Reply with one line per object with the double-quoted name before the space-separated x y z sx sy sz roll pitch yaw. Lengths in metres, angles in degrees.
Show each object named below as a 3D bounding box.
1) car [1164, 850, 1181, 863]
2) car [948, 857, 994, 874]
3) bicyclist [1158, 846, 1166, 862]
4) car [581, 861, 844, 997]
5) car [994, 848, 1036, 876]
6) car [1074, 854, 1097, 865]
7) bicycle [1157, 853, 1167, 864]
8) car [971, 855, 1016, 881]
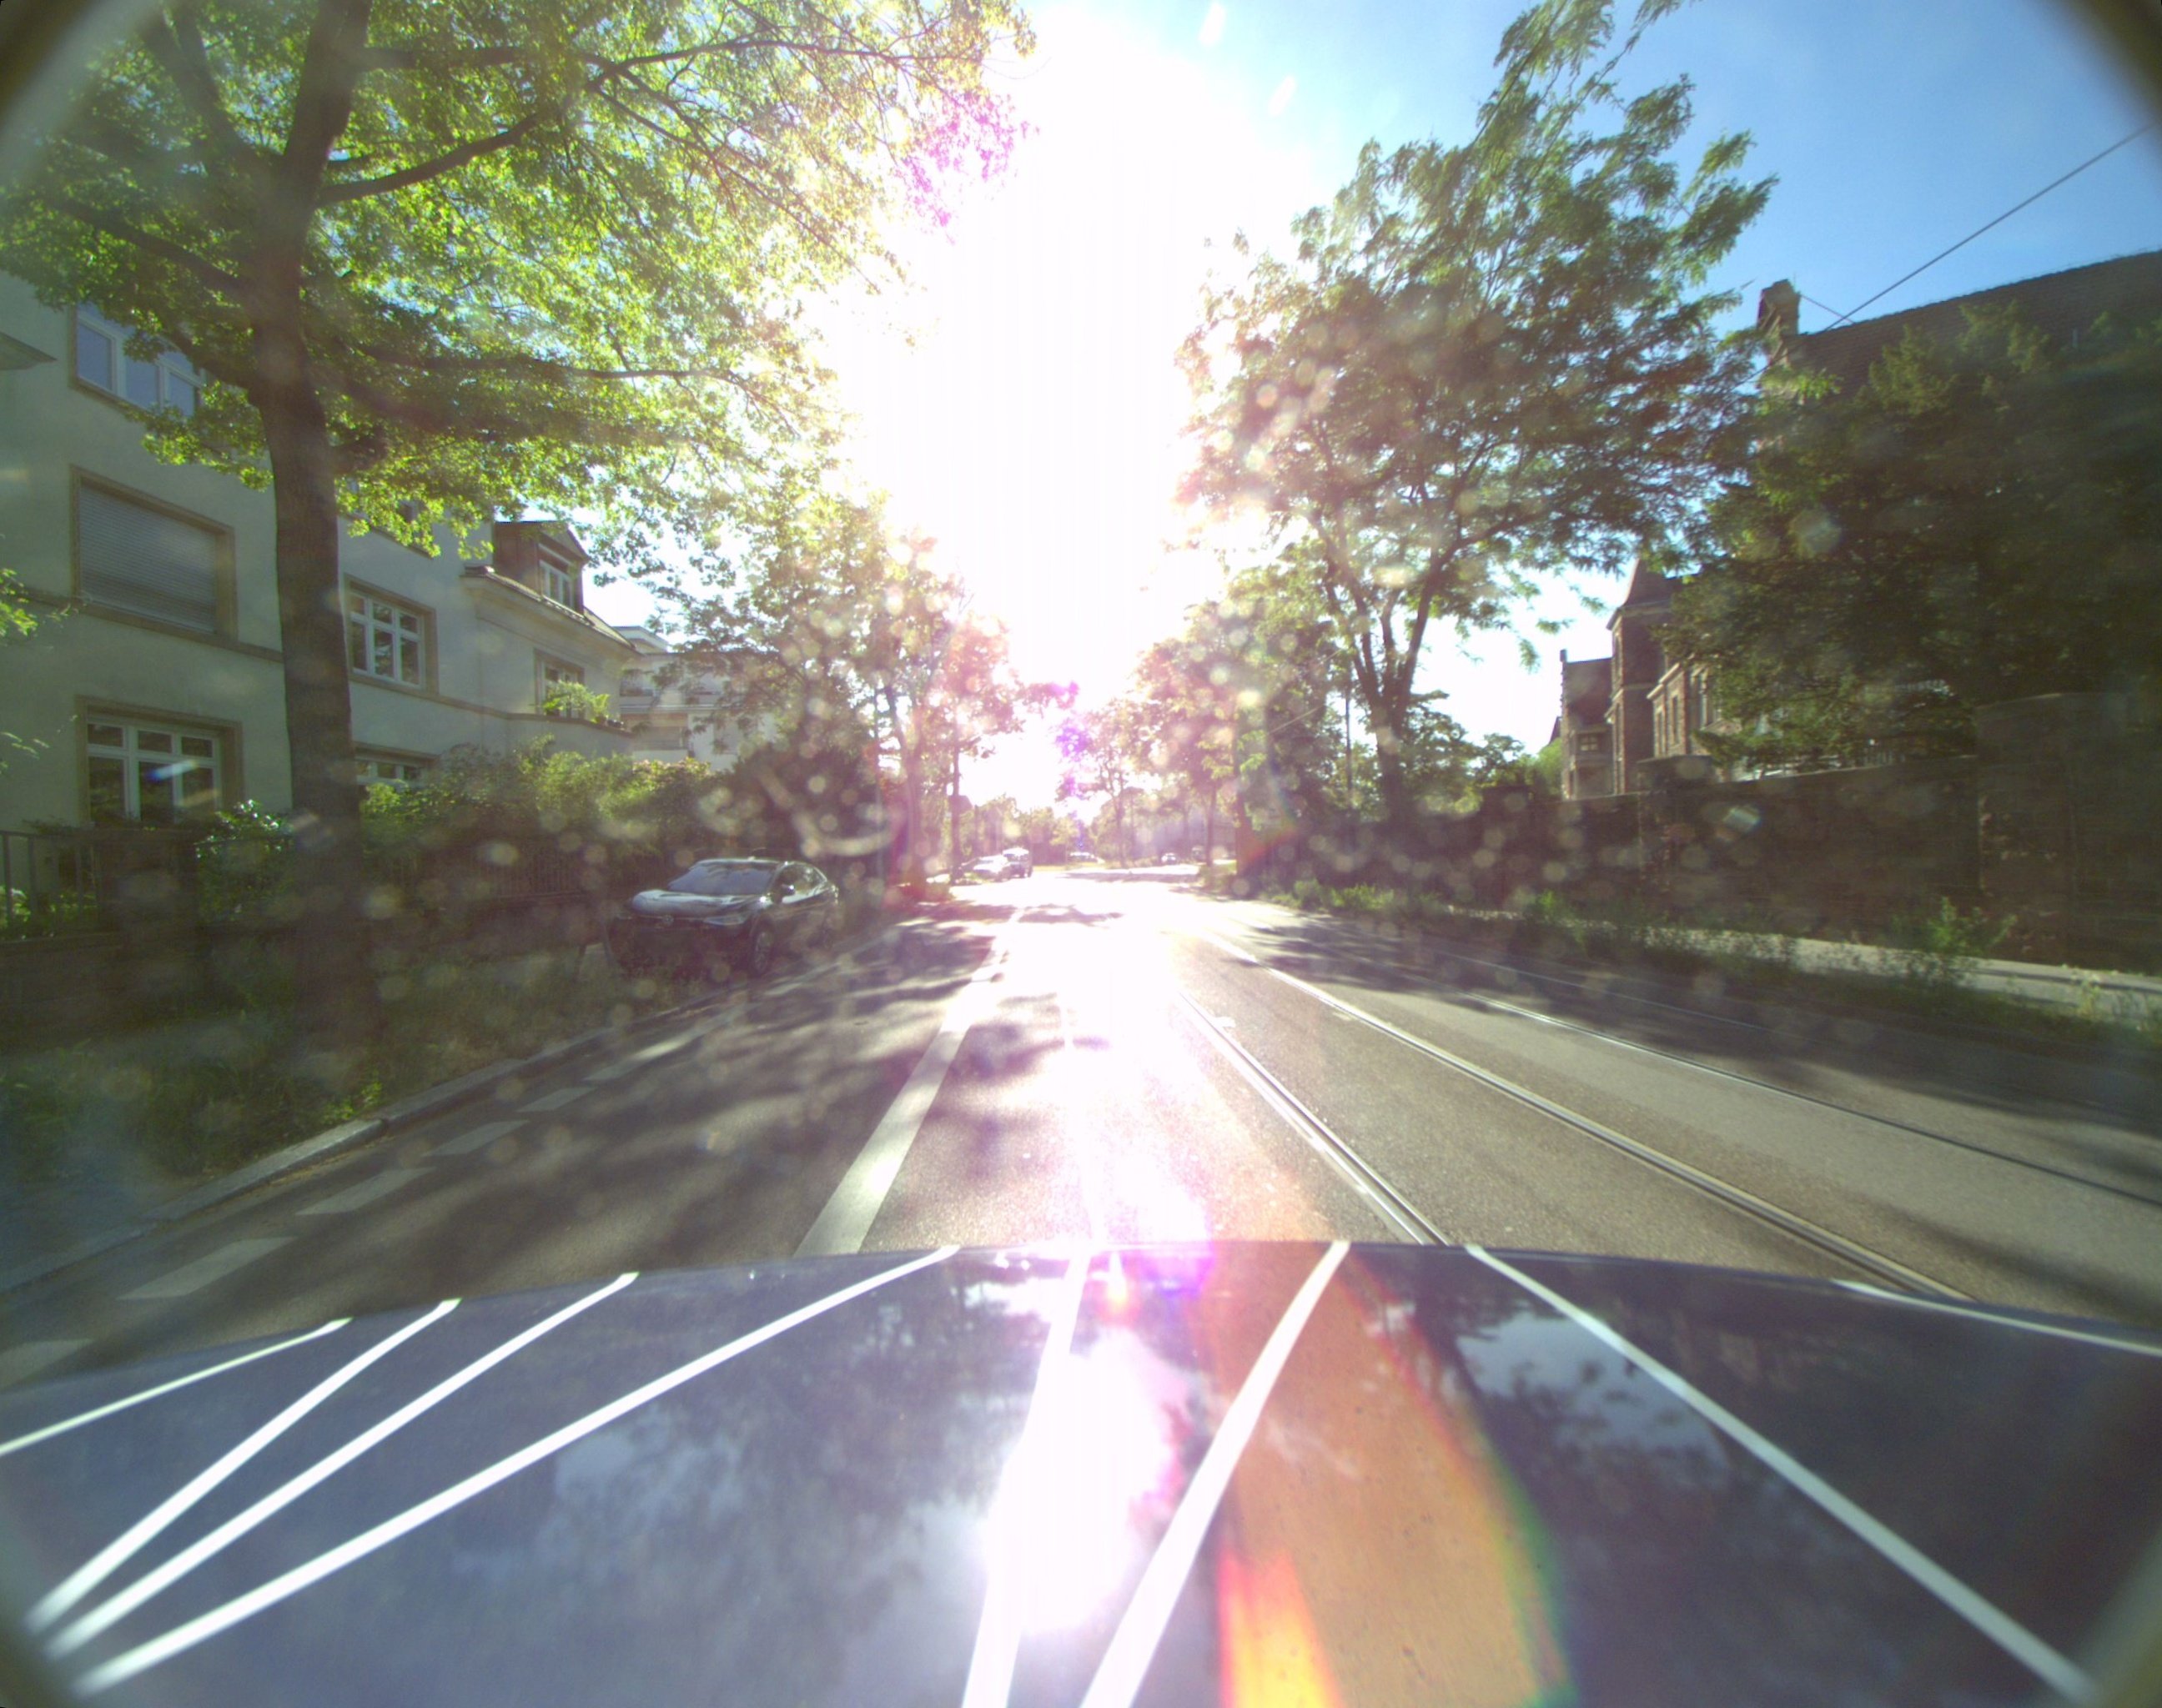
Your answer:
"car" 11.893 0.324 98.721 1.997 1.539 4.002 -2 0 8
"car" -10.061 1.047 69.536 3.998 1.433 1.813 -2 0 -3
"bicyclist" 8.391 0.043 78.999 0.643 1.632 0.666 -2 1 19
"car" -5.210 0.946 11.505 1.919 1.590 4.258 2 0 -1
"car" -4.419 0.507 51.687 1.900 1.775 4.670 -1 0 6
"car" 0.726 0.926 128.788 3.908 1.683 1.905 -1 0 -1
"bicycle" 8.417 0.493 79.020 0.588 1.105 1.857 -1 0 19
"car" -5.181 0.795 45.331 1.901 1.402 4.260 -1 0 4
